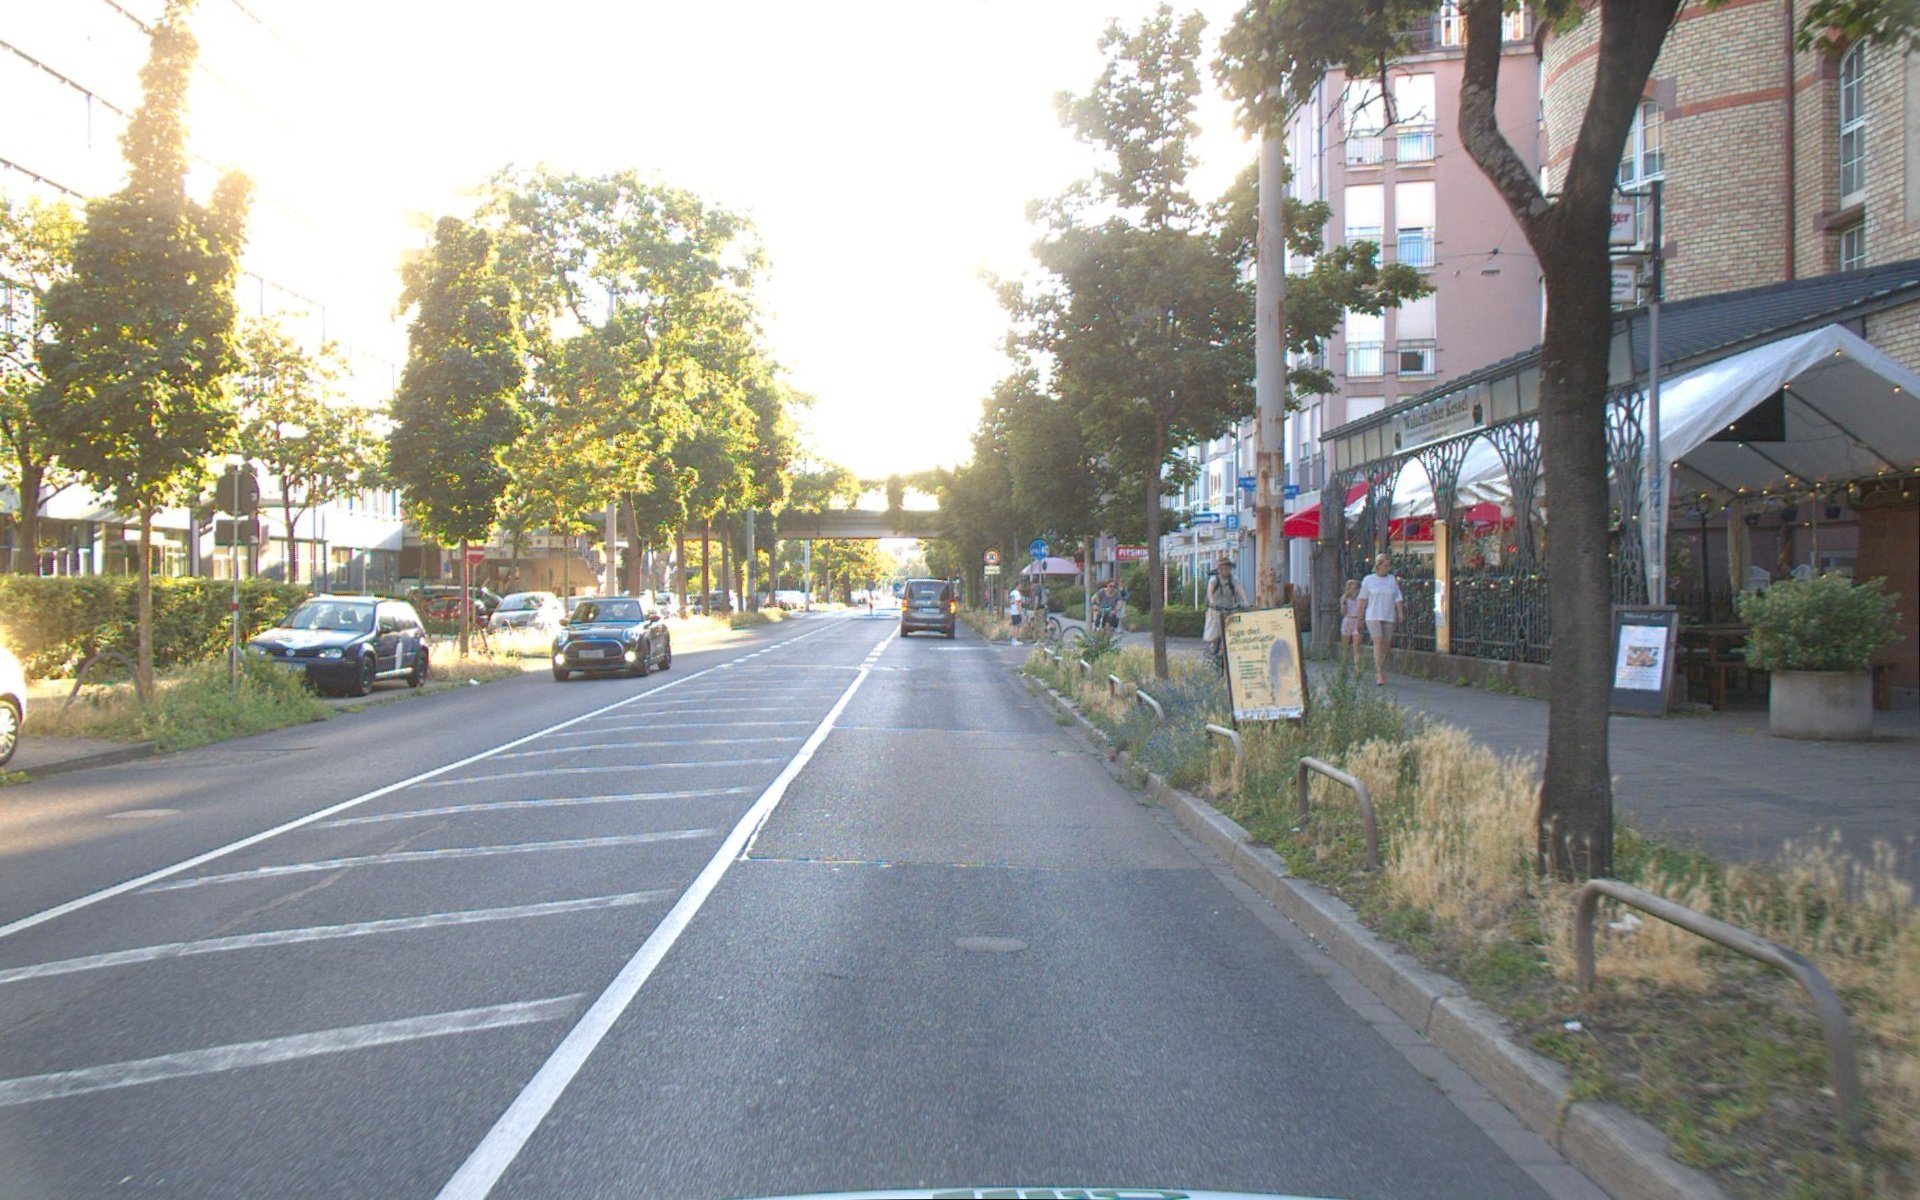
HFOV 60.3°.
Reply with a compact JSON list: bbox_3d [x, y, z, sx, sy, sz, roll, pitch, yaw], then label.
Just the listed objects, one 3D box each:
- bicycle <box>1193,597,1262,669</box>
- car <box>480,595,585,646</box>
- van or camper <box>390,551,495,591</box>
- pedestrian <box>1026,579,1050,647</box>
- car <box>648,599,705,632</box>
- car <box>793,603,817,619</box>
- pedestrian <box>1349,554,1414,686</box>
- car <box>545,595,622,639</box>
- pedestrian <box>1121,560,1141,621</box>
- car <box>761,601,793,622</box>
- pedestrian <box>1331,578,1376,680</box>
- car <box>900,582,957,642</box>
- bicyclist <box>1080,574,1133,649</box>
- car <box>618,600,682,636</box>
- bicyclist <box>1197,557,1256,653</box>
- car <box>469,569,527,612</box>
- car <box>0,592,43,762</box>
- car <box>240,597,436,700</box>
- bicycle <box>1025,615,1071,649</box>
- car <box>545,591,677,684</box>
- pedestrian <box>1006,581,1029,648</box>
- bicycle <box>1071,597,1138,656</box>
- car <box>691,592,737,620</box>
[{"bbox_3d":[3.609,0.427,22.461,0.567,0.913,1.987,1,0,-1],"label":"bicycle"},{"bbox_3d":[-12.076,0.547,47.005,1.953,1.333,4.065,2,0,-1],"label":"car"},{"bbox_3d":[-35.614,-1.978,113.898,6.432,2.566,2.448,2,0,-3],"label":"van or camper"},{"bbox_3d":[2.233,0.362,47.300,0.496,1.922,0.543,2,0,-16],"label":"pedestrian"},{"bbox_3d":[-13.189,0.721,77.126,1.953,1.439,4.236,2,0,-1],"label":"car"},{"bbox_3d":[-14.671,1.036,156.842,1.953,1.439,4.236,2,0,-1],"label":"car"},{"bbox_3d":[5.444,0.249,21.373,0.631,1.661,0.656,1,0,-1],"label":"pedestrian"},{"bbox_3d":[-12.223,0.543,53.924,1.637,1.337,3.964,2,0,-1],"label":"car"},{"bbox_3d":[7.293,-0.402,70.502,0.701,2.583,0.824,1,0,-1],"label":"pedestrian"},{"bbox_3d":[-13.807,0.859,125.046,1.953,1.439,4.236,2,0,-1],"label":"car"},{"bbox_3d":[5.410,0.389,22.759,0.457,1.374,0.530,1,0,-1],"label":"pedestrian"},{"bbox_3d":[-1.043,0.375,56.228,1.849,1.958,3.839,-1,0,0],"label":"car"},{"bbox_3d":[3.199,0.250,36.117,0.739,1.585,0.934,1,0,36],"label":"bicyclist"},{"bbox_3d":[-13.125,0.736,70.313,1.953,1.439,4.236,2,0,-1],"label":"car"},{"bbox_3d":[3.619,0.063,22.493,0.573,1.258,1.111,1,0,-2],"label":"bicyclist"},{"bbox_3d":[-26.820,-0.551,96.201,1.953,2.348,5.244,1,0,-1],"label":"car"},{"bbox_3d":[-9.174,0.661,13.114,1.663,1.477,3.998,2,0,-2],"label":"car"},{"bbox_3d":[-9.459,0.683,25.461,1.605,1.410,3.998,2,0,-2],"label":"car"},{"bbox_3d":[2.560,0.919,48.098,0.580,0.913,1.975,2,0,-20],"label":"bicycle"},{"bbox_3d":[-6.426,0.648,30.850,1.645,1.556,3.999,-2,0,-1],"label":"car"},{"bbox_3d":[1.659,0.406,47.746,0.496,1.922,0.543,2,0,-16],"label":"pedestrian"},{"bbox_3d":[3.172,0.580,36.117,0.537,1.248,1.981,1,0,34],"label":"bicycle"},{"bbox_3d":[-13.547,0.318,91.296,1.953,1.439,4.236,2,0,-1],"label":"car"}]
